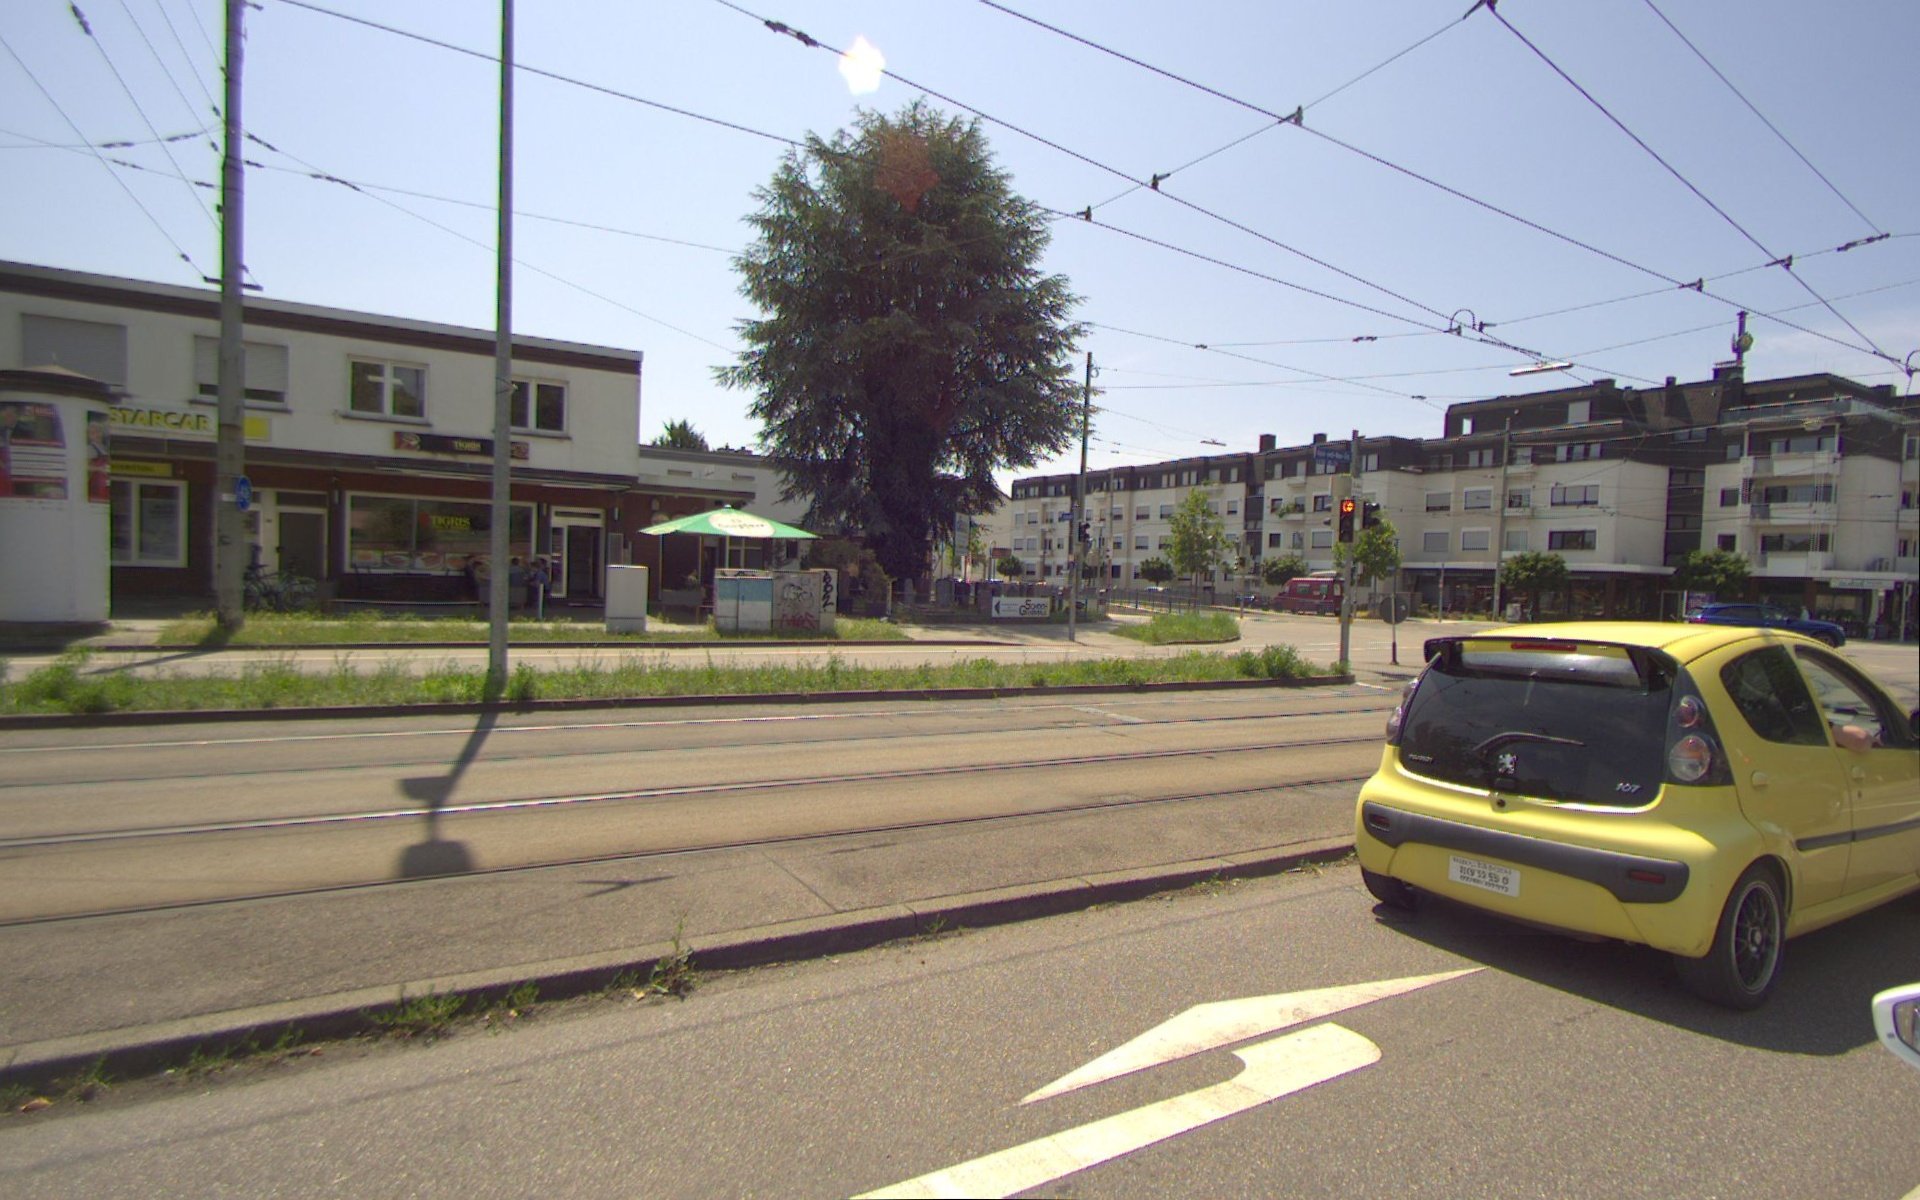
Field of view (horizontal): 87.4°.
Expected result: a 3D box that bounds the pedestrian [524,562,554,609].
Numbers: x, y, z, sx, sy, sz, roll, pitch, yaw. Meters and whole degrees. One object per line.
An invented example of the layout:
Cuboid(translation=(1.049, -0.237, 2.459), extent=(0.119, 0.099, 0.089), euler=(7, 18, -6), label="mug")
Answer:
Cuboid(translation=(-11.131, -0.388, 26.560), extent=(0.666, 1.215, 0.514), euler=(1, 2, -30), label="pedestrian")

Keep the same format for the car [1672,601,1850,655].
Cuboid(translation=(28.558, 0.943, 36.017), extent=(4.542, 1.646, 1.999), euler=(3, 1, 22), label="car")

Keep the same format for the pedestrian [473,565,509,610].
Cuboid(translation=(-12.147, -0.326, 26.010), extent=(0.801, 1.142, 0.561), euler=(1, 2, -30), label="pedestrian")

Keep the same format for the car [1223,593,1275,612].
Cuboid(translation=(21.062, 0.158, 73.405), extent=(1.571, 1.235, 3.553), euler=(1, 1, -29), label="car")

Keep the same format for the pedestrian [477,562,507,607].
Cuboid(translation=(-12.454, -0.418, 26.725), extent=(0.666, 1.179, 0.514), euler=(1, 2, -30), label="pedestrian")

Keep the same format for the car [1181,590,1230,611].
Cuboid(translation=(18.755, 0.030, 76.859), extent=(1.571, 1.452, 3.553), euler=(1, 1, -29), label="car")

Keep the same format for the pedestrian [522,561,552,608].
Cuboid(translation=(-11.401, -0.415, 27.083), extent=(0.666, 1.225, 0.514), euler=(1, 2, -30), label="pedestrian")

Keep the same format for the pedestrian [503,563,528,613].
Cuboid(translation=(-11.385, -0.318, 25.719), extent=(0.486, 1.255, 0.572), euler=(1, 2, -31), label="pedestrian")

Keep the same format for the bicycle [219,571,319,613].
Cuboid(translation=(-15.237, -0.171, 22.206), extent=(1.767, 0.859, 0.525), euler=(2, 4, -31), label="bicycle")

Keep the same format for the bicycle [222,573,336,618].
Cuboid(translation=(-14.387, -0.091, 21.282), extent=(1.936, 0.859, 0.599), euler=(2, 4, -31), label="bicycle")

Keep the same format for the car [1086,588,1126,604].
Cuboid(translation=(12.692, -0.339, 87.539), extent=(1.571, 1.257, 3.553), euler=(1, 1, -29), label="car")

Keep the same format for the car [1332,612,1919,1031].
Cuboid(translation=(3.757, 0.824, 5.118), extent=(3.614, 1.440, 1.607), euler=(2, -1, -31), label="car")

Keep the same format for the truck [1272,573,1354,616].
Cuboid(translation=(23.846, -0.385, 67.975), extent=(2.161, 2.734, 5.002), euler=(1, 1, -29), label="truck")

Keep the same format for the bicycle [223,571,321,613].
Cuboid(translation=(-15.517, -0.181, 22.701), extent=(1.767, 0.859, 0.525), euler=(2, 4, -31), label="bicycle")

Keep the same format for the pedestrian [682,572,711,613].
Cuboid(translation=(-7.483, -0.219, 28.501), extent=(0.666, 1.142, 0.514), euler=(1, 2, -30), label="pedestrian")

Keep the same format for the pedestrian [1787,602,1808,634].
Cuboid(translation=(47.488, 1.019, 56.965), extent=(0.697, 1.719, 0.797), euler=(1, 2, -45), label="pedestrian")
